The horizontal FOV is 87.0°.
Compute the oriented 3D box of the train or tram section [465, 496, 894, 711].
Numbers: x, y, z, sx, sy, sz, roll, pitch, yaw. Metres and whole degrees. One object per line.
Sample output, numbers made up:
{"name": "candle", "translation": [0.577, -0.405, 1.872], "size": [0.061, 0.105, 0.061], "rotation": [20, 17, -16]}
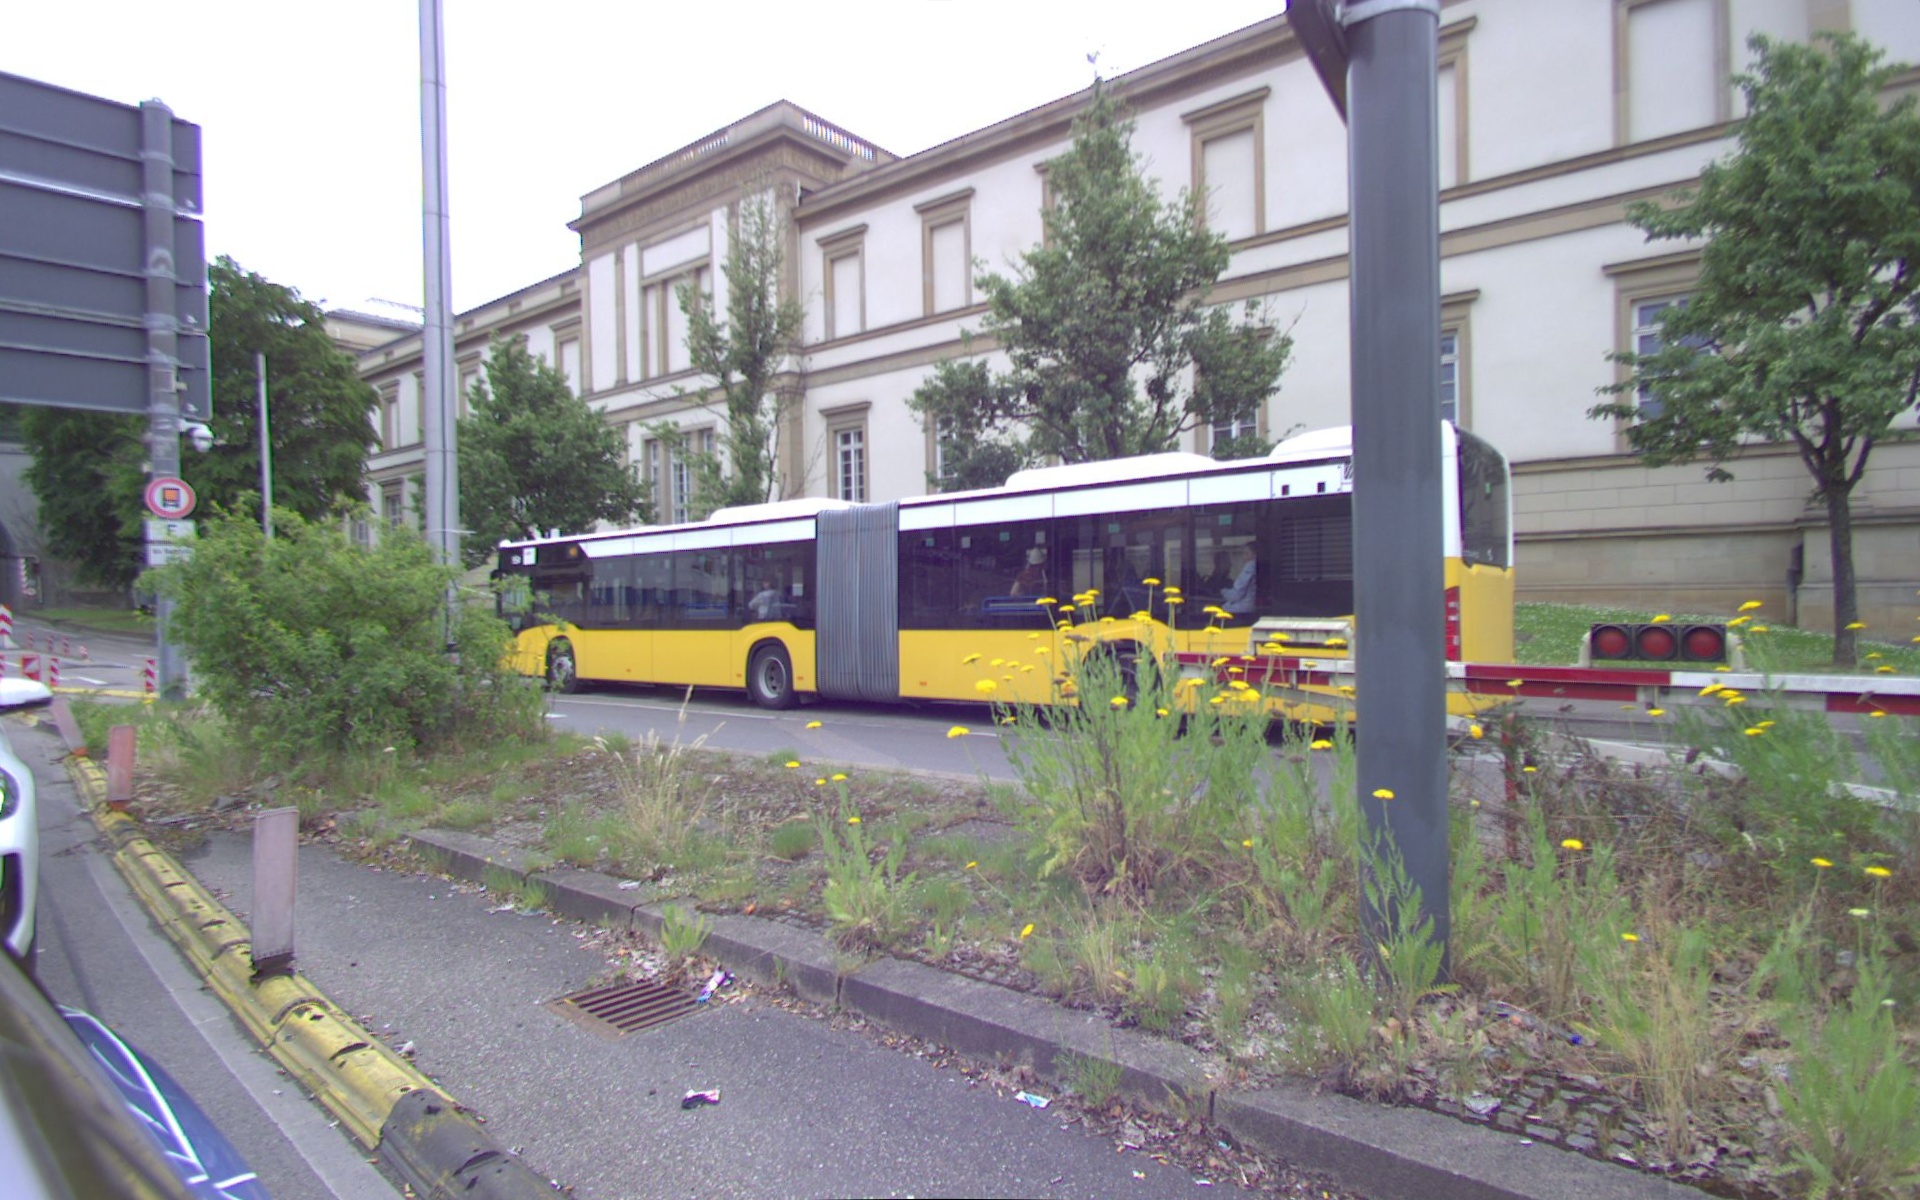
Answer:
{"name": "train or tram section", "translation": [-5.544, 0.165, 18.571], "size": [9.366, 3.094, 2.667], "rotation": [-2, -2, 39]}

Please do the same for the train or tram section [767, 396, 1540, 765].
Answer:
{"name": "train or tram section", "translation": [1.614, -0.058, 12.559], "size": [9.330, 3.094, 2.666], "rotation": [-2, -2, 41]}

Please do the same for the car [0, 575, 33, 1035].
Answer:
{"name": "car", "translation": [-5.230, 0.724, 4.204], "size": [3.911, 1.568, 1.733], "rotation": [-1, 0, 43]}
